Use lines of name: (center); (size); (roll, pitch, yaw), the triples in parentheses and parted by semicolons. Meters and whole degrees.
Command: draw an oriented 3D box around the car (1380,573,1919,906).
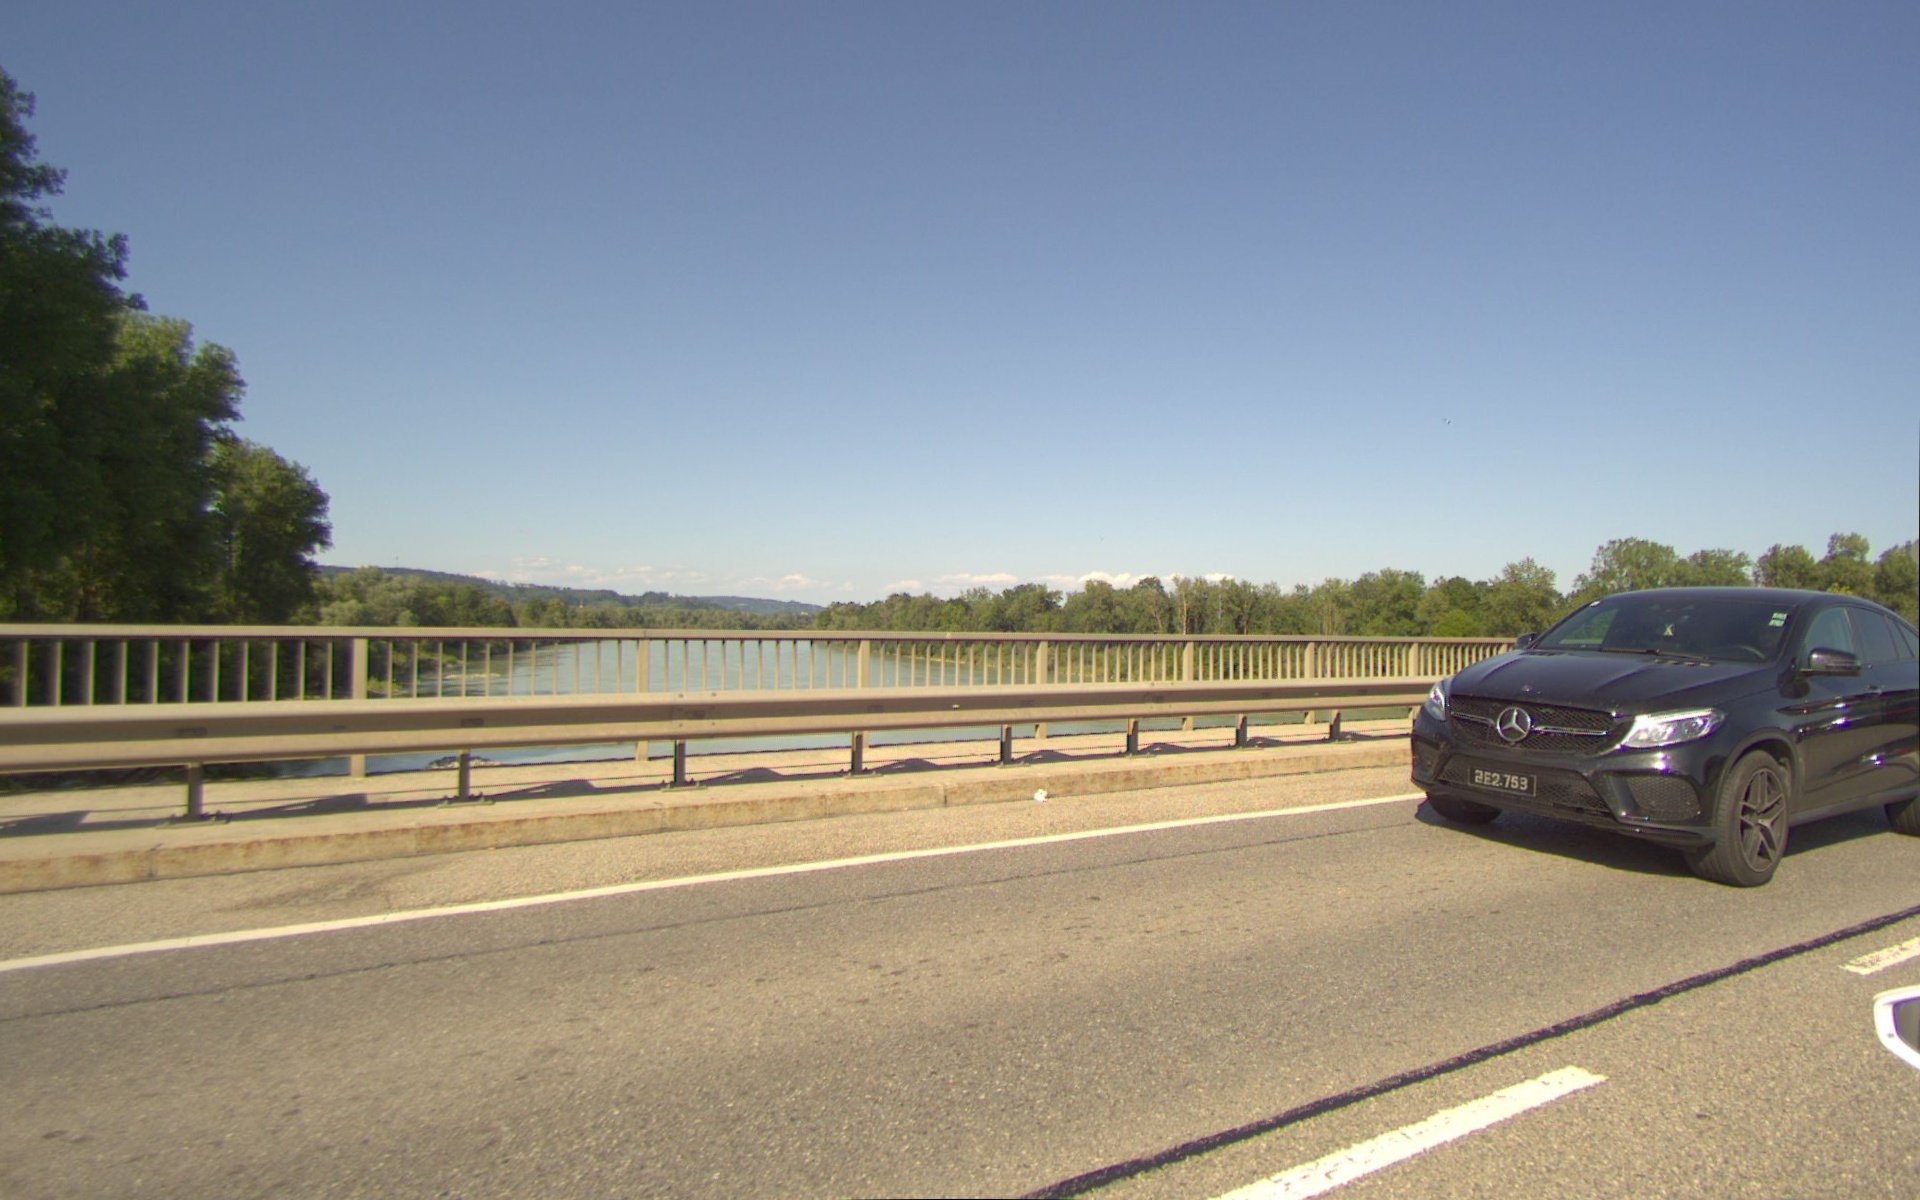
car: (5.279, 0.774, 7.124); (4.423, 1.716, 1.940); (2, -1, -29)
